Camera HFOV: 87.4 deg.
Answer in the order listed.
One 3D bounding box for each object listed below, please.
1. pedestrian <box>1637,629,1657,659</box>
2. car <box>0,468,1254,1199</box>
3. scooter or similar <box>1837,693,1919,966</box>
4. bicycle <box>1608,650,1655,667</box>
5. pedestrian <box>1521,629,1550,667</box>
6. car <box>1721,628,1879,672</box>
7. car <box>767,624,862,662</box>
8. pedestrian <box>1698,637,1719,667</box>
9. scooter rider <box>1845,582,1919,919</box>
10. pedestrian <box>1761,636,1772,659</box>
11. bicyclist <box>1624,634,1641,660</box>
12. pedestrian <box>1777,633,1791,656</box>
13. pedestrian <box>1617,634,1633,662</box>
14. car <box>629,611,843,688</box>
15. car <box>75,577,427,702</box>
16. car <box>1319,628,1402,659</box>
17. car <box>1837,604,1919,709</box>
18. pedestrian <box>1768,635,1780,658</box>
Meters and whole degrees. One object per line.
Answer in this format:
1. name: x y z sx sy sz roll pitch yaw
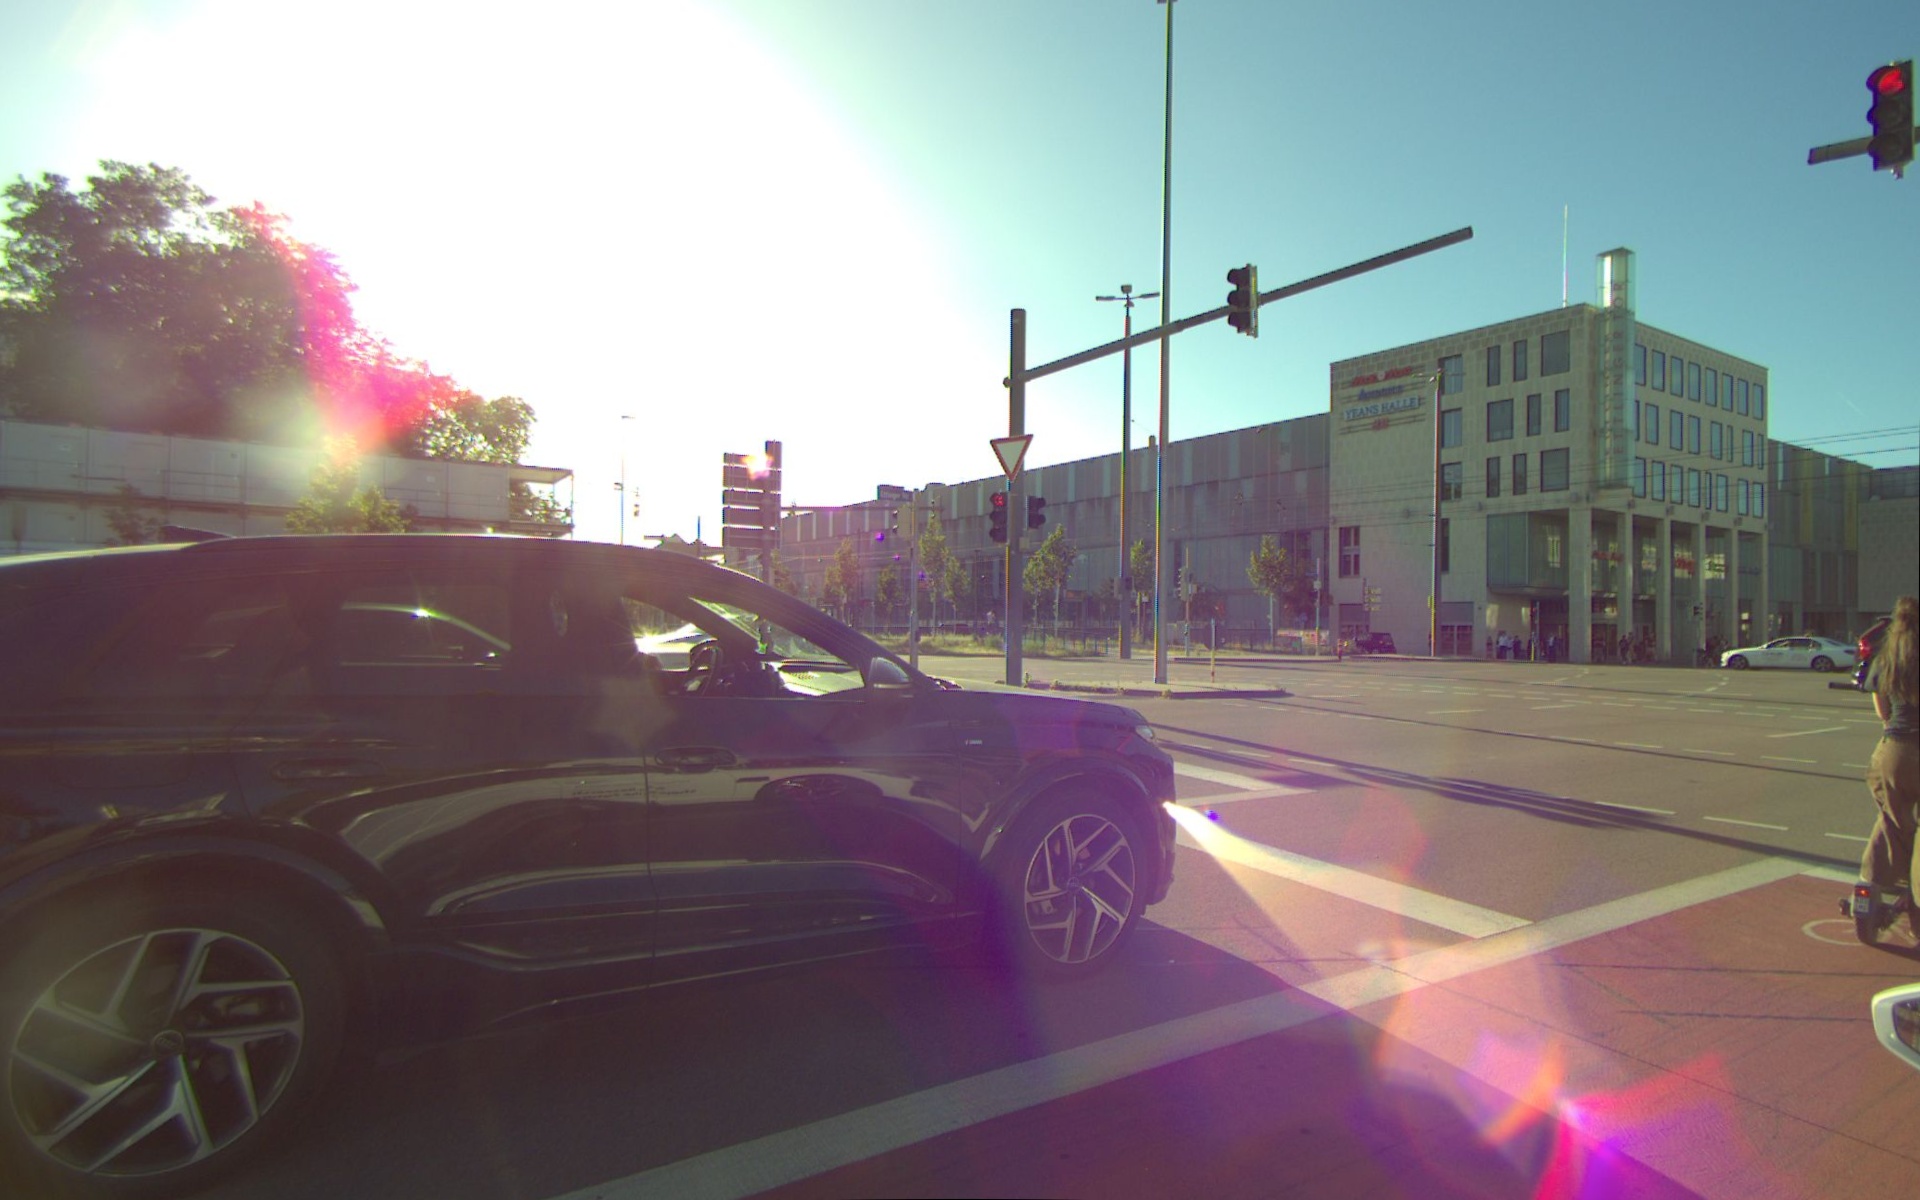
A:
1. pedestrian: 42.738 2.729 62.479 0.529 1.889 0.943 1 -1 -13
2. car: -1.240 0.603 4.076 4.613 1.729 2.154 1 0 -32
3. scooter or similar: 4.361 1.023 4.685 0.832 1.122 0.303 2 -1 -42
4. bicycle: 37.471 3.245 56.069 2.173 0.915 0.638 0 -1 4
5. pedestrian: 26.175 2.190 45.697 0.994 1.697 0.818 1 -1 -33
6. car: 35.301 2.039 42.357 1.804 1.706 4.821 1 -2 -31
7. car: -6.697 1.931 45.722 1.983 1.585 5.042 2 -2 -39
8. pedestrian: 41.996 2.915 56.369 0.617 1.660 0.775 1 -1 -23
9. scooter rider: 4.607 0.699 4.755 0.445 1.550 0.548 1 -1 -38
10. pedestrian: 62.723 3.702 78.127 0.510 1.752 0.472 2 0 9
11. bicyclist: 37.534 2.627 56.064 0.577 1.467 0.628 1 -1 0
12. pedestrian: 62.234 3.367 75.901 0.615 1.752 0.472 2 0 4
13. pedestrian: 40.391 2.921 60.994 0.622 1.667 0.589 1 -1 -30
14. car: -4.394 0.951 20.124 1.705 1.395 3.920 -1 -2 43
15. car: -12.360 0.685 17.921 4.879 1.947 1.870 1 -1 -34
16. car: 23.788 2.567 59.809 1.805 1.706 4.379 1 -2 -32
17. car: 18.896 1.033 17.893 1.873 1.888 4.771 2 -2 -43
18. pedestrian: 63.839 3.629 78.763 0.510 1.752 0.472 2 0 9
